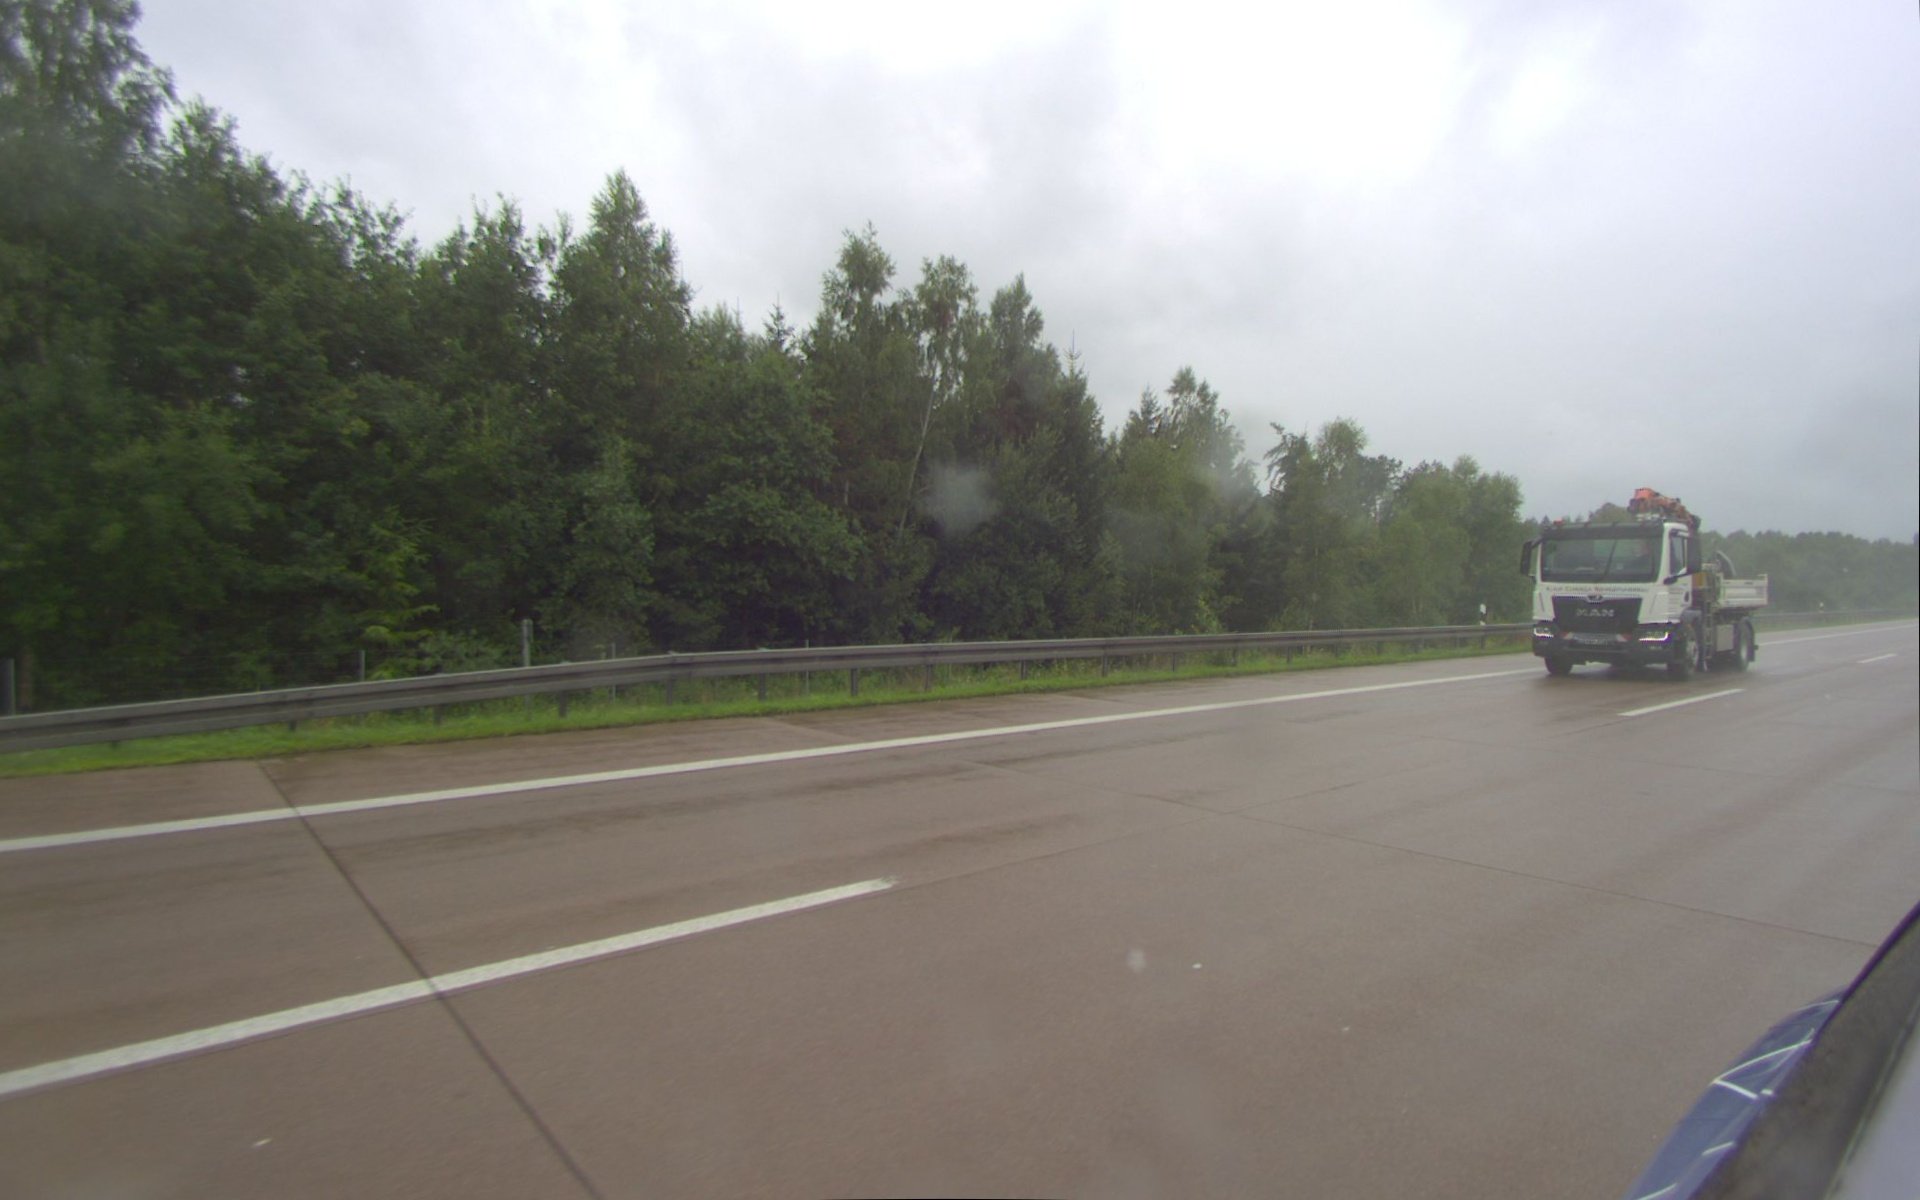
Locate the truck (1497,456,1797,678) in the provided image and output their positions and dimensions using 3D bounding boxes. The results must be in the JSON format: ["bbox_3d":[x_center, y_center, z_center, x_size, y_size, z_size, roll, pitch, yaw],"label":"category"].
[{"bbox_3d":[14.460,-0.587,21.023,7.814,3.777,3.240,0,0,-41],"label":"truck"}]
